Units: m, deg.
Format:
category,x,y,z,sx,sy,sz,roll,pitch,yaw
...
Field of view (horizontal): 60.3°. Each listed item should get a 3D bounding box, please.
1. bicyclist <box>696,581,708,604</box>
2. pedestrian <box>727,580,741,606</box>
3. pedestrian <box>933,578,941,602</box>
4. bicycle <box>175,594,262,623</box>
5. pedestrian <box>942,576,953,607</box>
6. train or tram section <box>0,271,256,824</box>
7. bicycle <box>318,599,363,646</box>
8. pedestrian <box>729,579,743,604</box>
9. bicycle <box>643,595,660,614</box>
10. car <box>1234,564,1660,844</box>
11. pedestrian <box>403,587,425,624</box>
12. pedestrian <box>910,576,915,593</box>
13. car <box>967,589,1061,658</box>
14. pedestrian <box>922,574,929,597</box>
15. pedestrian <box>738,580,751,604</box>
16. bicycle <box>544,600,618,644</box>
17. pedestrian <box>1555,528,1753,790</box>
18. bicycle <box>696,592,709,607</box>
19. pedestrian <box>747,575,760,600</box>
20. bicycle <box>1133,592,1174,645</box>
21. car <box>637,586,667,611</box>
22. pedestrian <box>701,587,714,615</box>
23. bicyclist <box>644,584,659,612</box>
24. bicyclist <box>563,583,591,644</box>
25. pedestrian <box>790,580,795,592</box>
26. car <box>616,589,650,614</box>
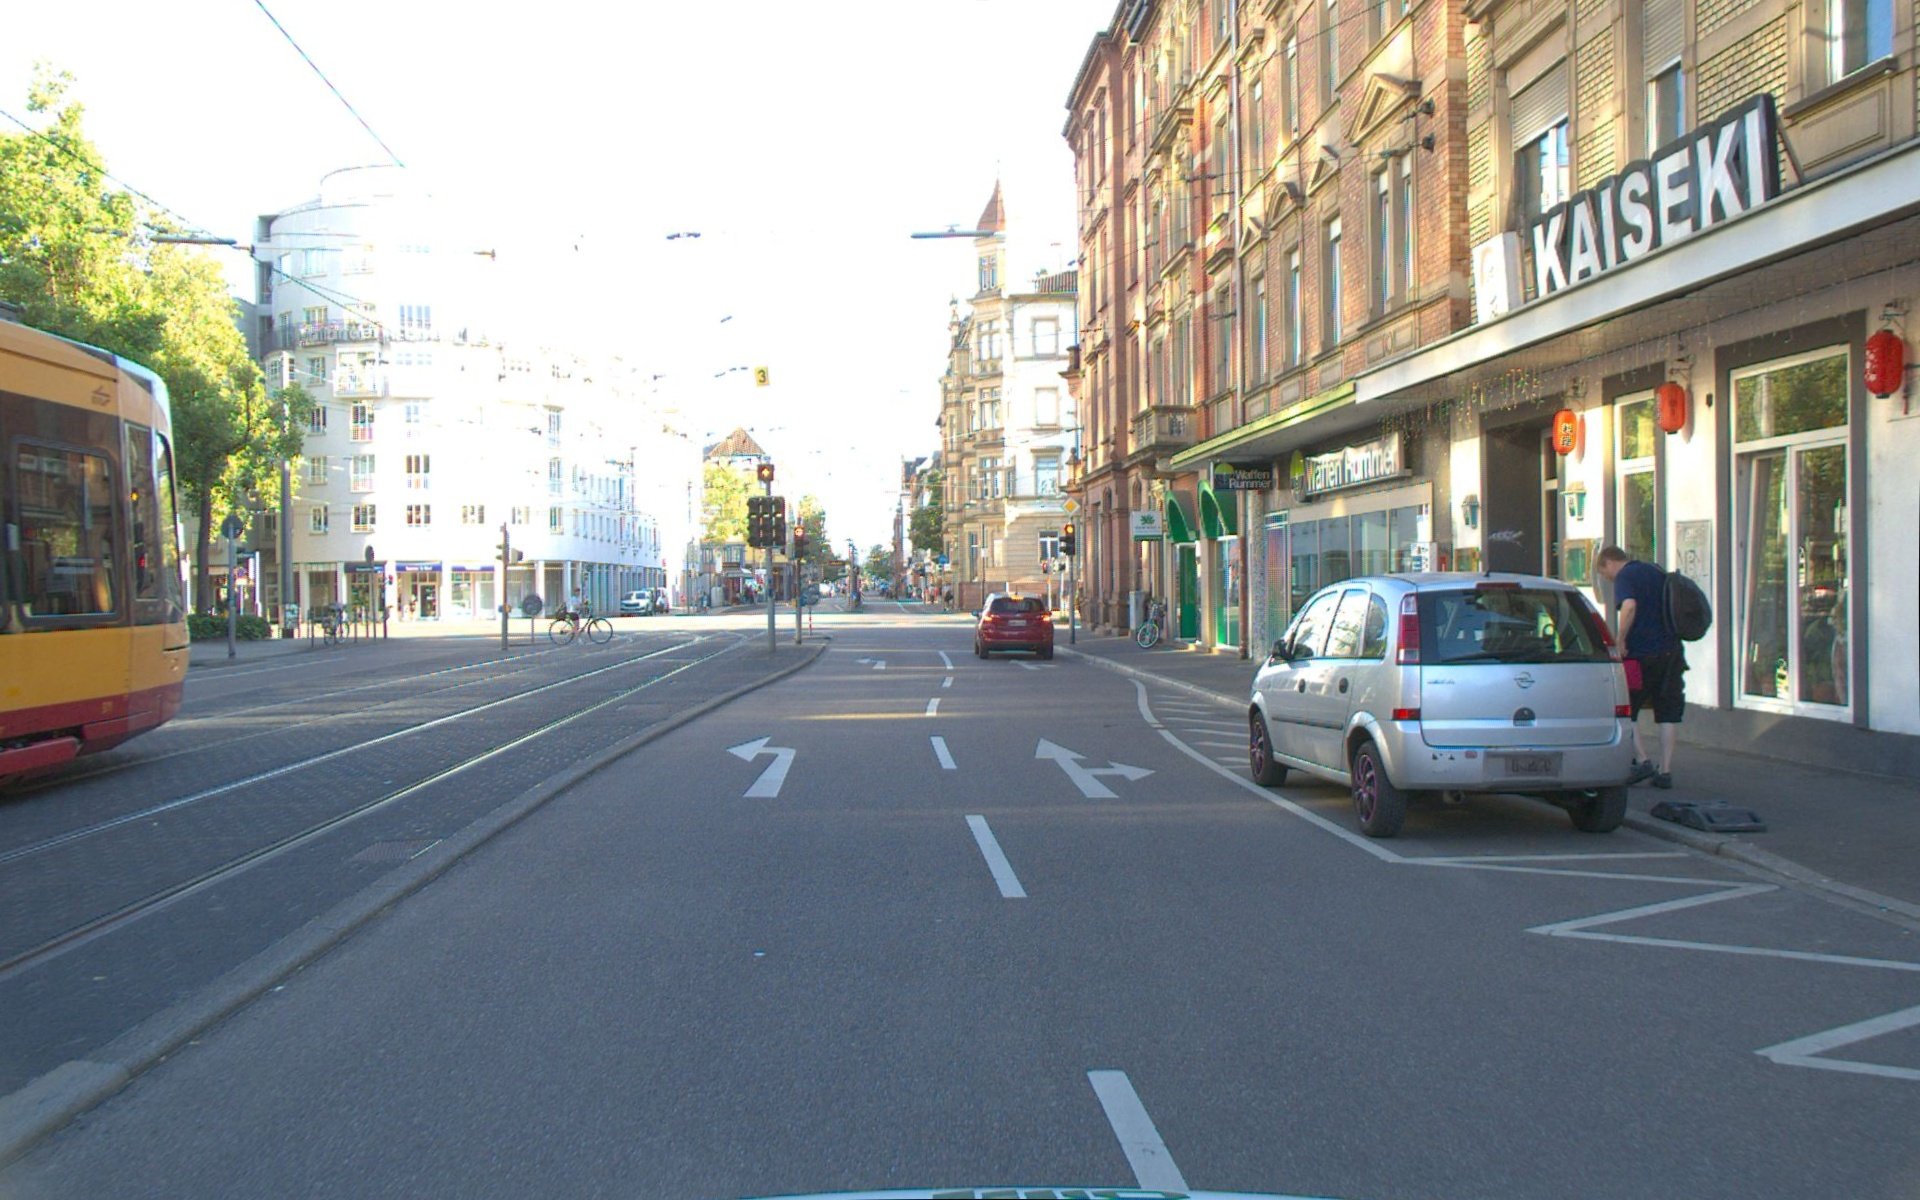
category,x,y,z,sx,sy,sz,roll,pitch,yaw
bicyclist,-20.952,-0.580,134.363,0.791,1.853,0.993,-1,0,-3
pedestrian,-18.106,-0.556,132.543,0.937,2.049,1.048,-1,0,-3
pedestrian,-1.942,-0.831,139.268,0.633,2.049,0.683,-1,0,-3
bicycle,-43.492,0.504,97.061,4.607,1.556,1.067,-1,0,0
pedestrian,-0.837,-0.572,110.418,0.638,2.049,0.759,-1,0,-4
train or tram section,-7.455,-0.309,8.764,2.623,3.613,12.832,-2,0,-4
bicycle,-19.037,0.677,50.844,0.657,1.350,1.906,2,1,0
pedestrian,-18.547,-0.717,136.952,1.025,2.049,0.958,-1,0,-5
bicycle,-19.815,0.290,106.362,0.791,1.167,2.048,-1,1,-3
car,3.226,0.594,11.782,1.605,1.643,3.941,0,0,-5
pedestrian,-30.247,0.299,91.677,0.934,2.049,0.930,-1,0,-31
pedestrian,-5.557,-1.833,194.624,0.565,2.049,0.630,-1,0,-3
car,1.203,0.495,38.225,1.720,1.492,3.941,0,0,-5
pedestrian,-3.202,-1.320,152.190,0.565,2.049,0.631,-1,0,3
pedestrian,-18.064,-0.676,138.614,1.025,2.049,0.958,-1,0,-5
bicycle,-10.636,0.609,46.440,1.982,1.198,0.626,-1,0,-12
pedestrian,5.117,0.411,12.258,0.928,1.823,1.054,-2,0,-4
bicycle,-20.948,-0.027,134.543,0.791,1.167,2.009,-1,1,-3
pedestrian,-16.916,-1.003,135.411,1.025,2.049,0.958,-1,0,-5
bicycle,4.656,0.433,39.710,0.700,1.172,1.656,-3,1,15
car,-22.397,-0.116,120.223,1.667,1.748,3.562,-1,1,-3
pedestrian,-15.999,0.067,104.748,0.753,1.761,0.572,-1,0,-1
bicyclist,-19.829,-0.130,106.448,0.791,1.756,0.794,-1,0,-3
bicyclist,-10.666,0.375,46.050,0.716,1.655,0.764,-1,0,-11
pedestrian,-23.159,-1.938,228.858,0.619,1.632,0.576,-1,0,-20
car,-22.122,0.084,111.898,1.730,1.573,3.459,-1,1,-2
